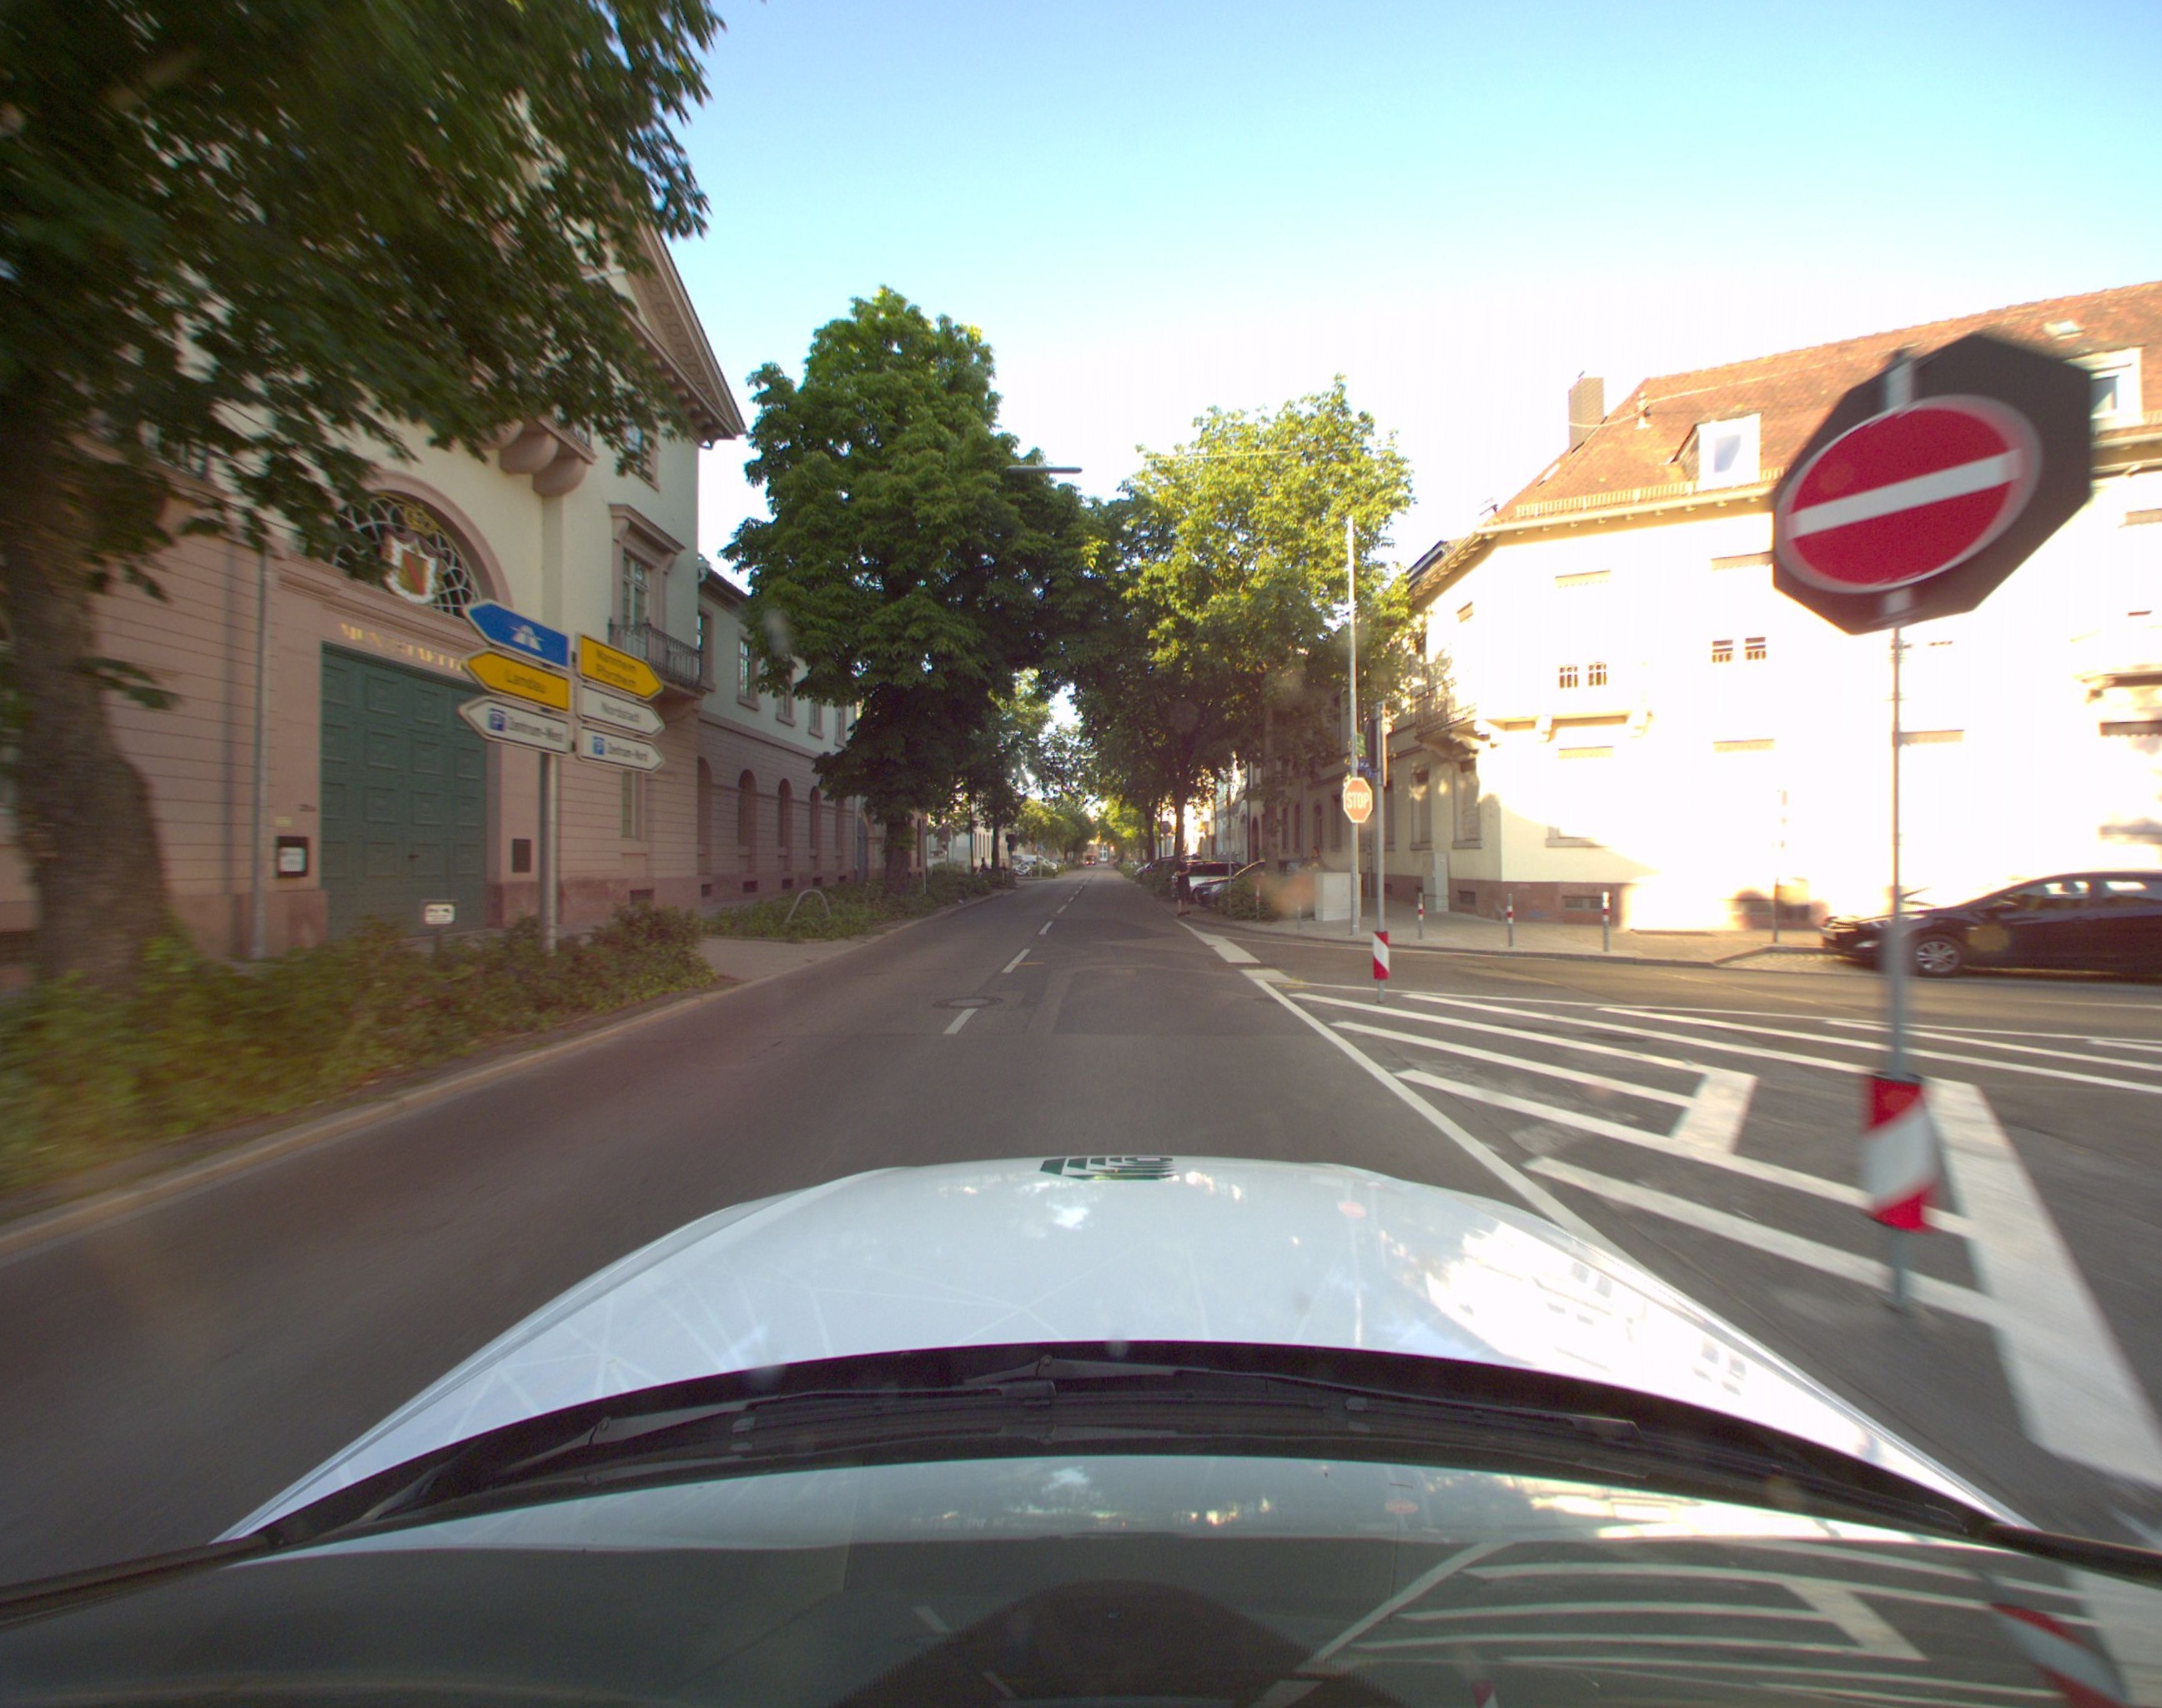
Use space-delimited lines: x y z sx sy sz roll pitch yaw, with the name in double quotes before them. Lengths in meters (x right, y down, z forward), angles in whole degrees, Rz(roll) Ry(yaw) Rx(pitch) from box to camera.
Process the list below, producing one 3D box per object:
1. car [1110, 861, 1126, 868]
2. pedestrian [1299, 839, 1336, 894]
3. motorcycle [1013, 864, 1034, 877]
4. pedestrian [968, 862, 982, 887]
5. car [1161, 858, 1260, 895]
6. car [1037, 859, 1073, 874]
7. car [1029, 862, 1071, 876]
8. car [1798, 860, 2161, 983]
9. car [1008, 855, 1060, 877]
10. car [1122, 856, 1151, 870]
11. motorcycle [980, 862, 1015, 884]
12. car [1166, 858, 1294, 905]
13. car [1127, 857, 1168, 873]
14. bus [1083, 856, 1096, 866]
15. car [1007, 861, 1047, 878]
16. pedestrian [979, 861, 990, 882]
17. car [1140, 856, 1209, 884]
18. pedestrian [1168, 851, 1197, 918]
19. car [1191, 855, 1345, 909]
"car" 9.680 2.654 215.159 3.964 1.838 2.005 0 -1 8
"pedestrian" 7.361 0.376 25.400 0.939 1.706 0.783 -1 1 3
"motorcycle" -4.815 1.417 68.227 1.630 1.068 0.656 0 0 1
"pedestrian" -7.047 1.352 54.181 0.714 1.664 0.839 -1 -1 4
"car" 5.533 0.953 35.154 4.001 1.480 1.780 -1 -1 0
"car" -3.746 1.820 119.140 5.044 2.083 2.264 -1 0 2
"car" -3.900 1.863 102.877 5.040 1.617 2.266 -1 0 4
"car" 13.284 0.863 11.521 4.368 1.543 1.878 -1 0 27
"car" -4.767 1.197 82.824 5.046 2.083 2.263 -1 0 1
"car" 7.701 1.231 112.033 3.968 2.014 2.002 0 -1 4
"motorcycle" -4.874 1.086 47.616 1.912 1.259 0.591 -1 -1 1
"car" 5.182 0.943 28.686 4.177 1.480 1.853 -2 0 1
"car" 7.560 1.223 92.758 4.575 1.762 2.223 -1 0 2
"bus" 2.522 2.086 246.563 3.023 3.190 9.385 0 0 -5
"car" -5.098 1.474 77.430 3.716 1.508 1.871 -1 0 -2
"pedestrian" -6.325 1.158 53.309 0.652 1.395 0.607 1 -1 1
"car" 5.663 0.962 49.626 4.001 1.623 1.780 -1 -1 0
"pedestrian" 2.899 0.851 23.215 0.790 1.869 0.753 0 -1 6
"car" 5.364 0.779 23.714 4.094 1.490 1.850 0 0 0
